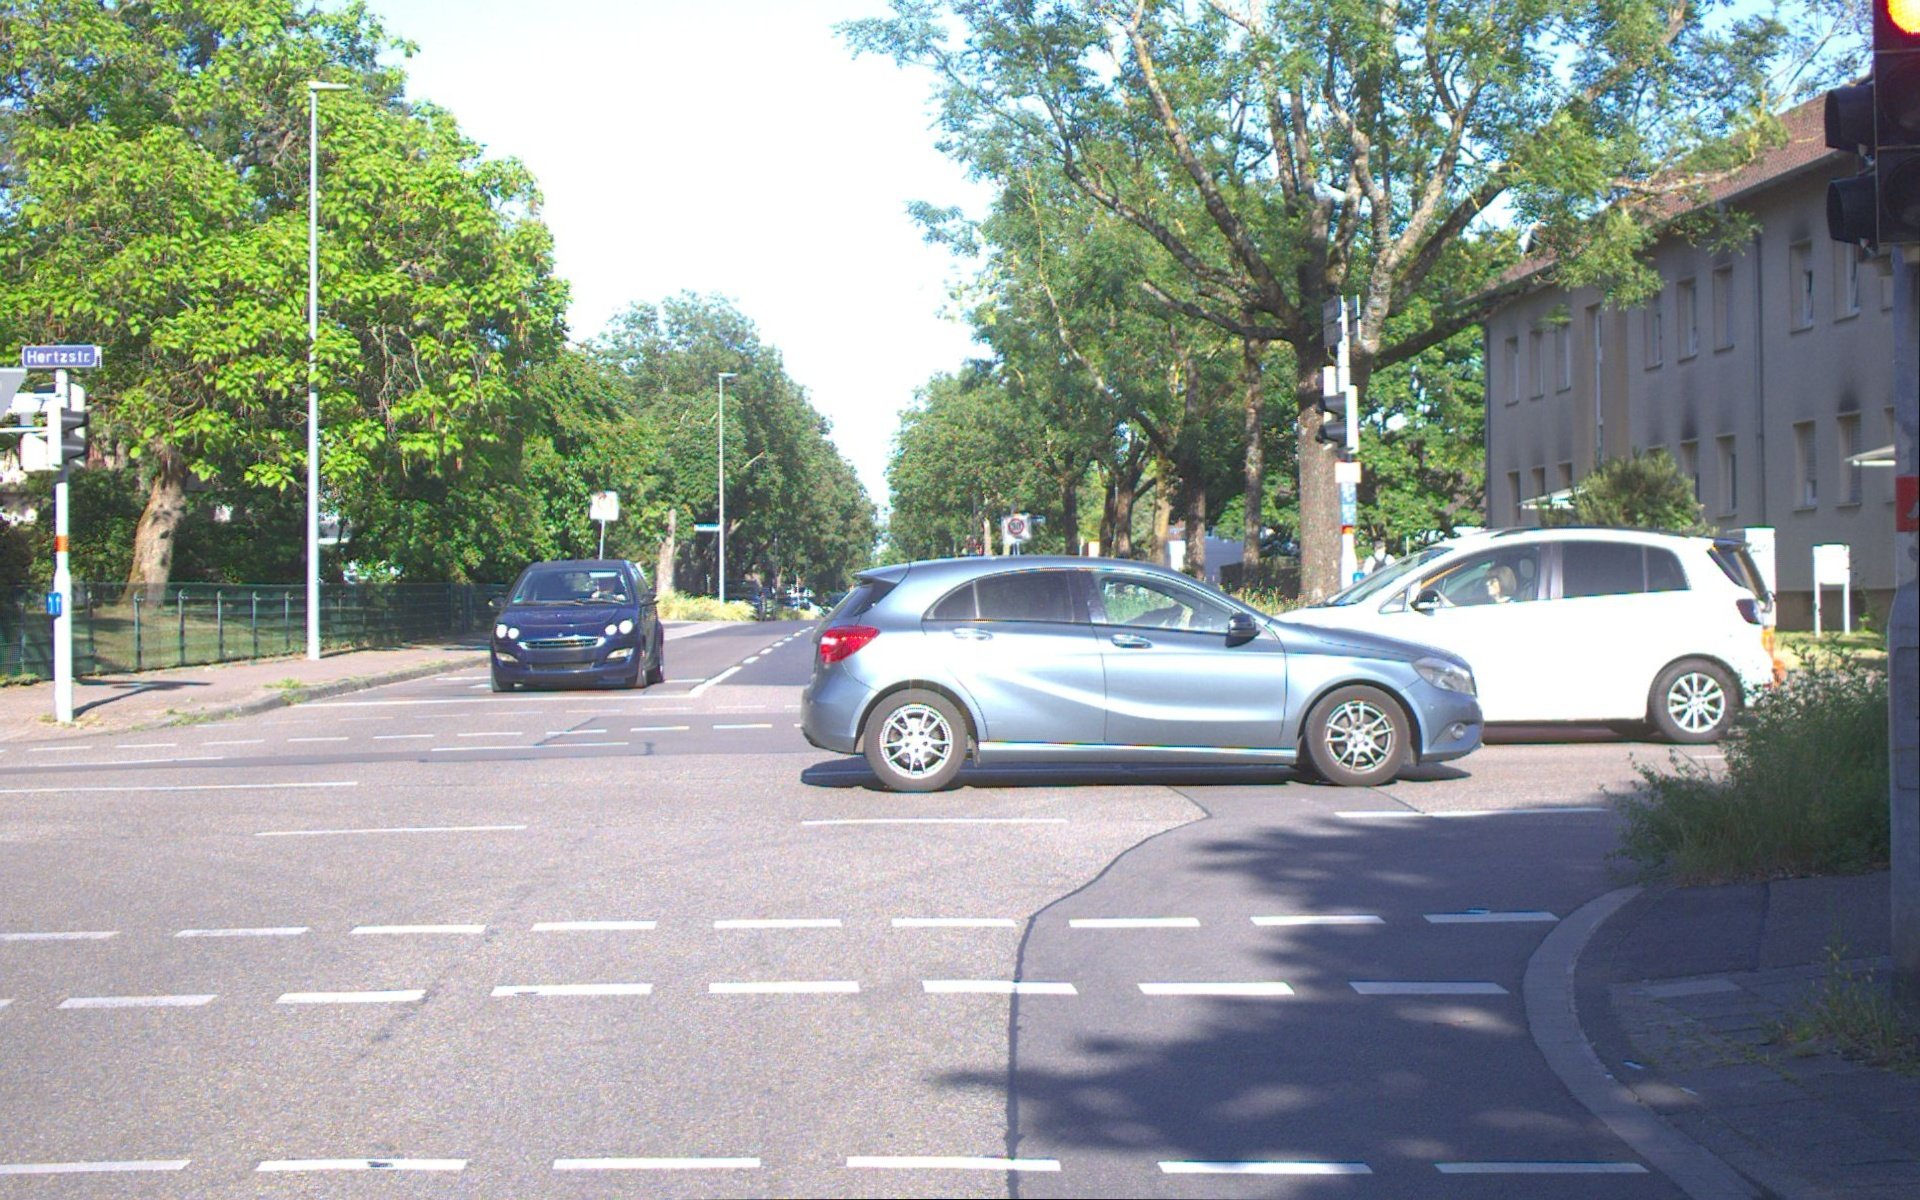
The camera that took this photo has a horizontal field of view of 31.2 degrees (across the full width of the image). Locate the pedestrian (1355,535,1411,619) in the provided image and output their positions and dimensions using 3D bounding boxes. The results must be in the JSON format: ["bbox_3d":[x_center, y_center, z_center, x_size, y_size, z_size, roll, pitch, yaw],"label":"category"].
[{"bbox_3d":[7.665,-0.417,62.296,0.842,1.488,0.924,2,1,-1],"label":"pedestrian"}]

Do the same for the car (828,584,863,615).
[{"bbox_3d":[-6.327,-0.041,189.919,1.758,1.619,3.268,0,1,0],"label":"car"}]

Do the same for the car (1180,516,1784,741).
[{"bbox_3d":[3.788,0.197,25.376,4.106,1.558,1.758,1,0,-4],"label":"car"}]

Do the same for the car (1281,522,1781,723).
[{"bbox_3d":[4.760,0.168,28.774,3.988,1.577,1.757,1,0,10],"label":"car"}]

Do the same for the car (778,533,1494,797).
[{"bbox_3d":[1.023,0.369,21.573,4.282,1.484,1.914,-1,1,-2],"label":"car"}]

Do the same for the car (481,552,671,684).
[{"bbox_3d":[-4.265,0.171,38.623,1.711,1.381,3.471,0,1,0],"label":"car"}]
